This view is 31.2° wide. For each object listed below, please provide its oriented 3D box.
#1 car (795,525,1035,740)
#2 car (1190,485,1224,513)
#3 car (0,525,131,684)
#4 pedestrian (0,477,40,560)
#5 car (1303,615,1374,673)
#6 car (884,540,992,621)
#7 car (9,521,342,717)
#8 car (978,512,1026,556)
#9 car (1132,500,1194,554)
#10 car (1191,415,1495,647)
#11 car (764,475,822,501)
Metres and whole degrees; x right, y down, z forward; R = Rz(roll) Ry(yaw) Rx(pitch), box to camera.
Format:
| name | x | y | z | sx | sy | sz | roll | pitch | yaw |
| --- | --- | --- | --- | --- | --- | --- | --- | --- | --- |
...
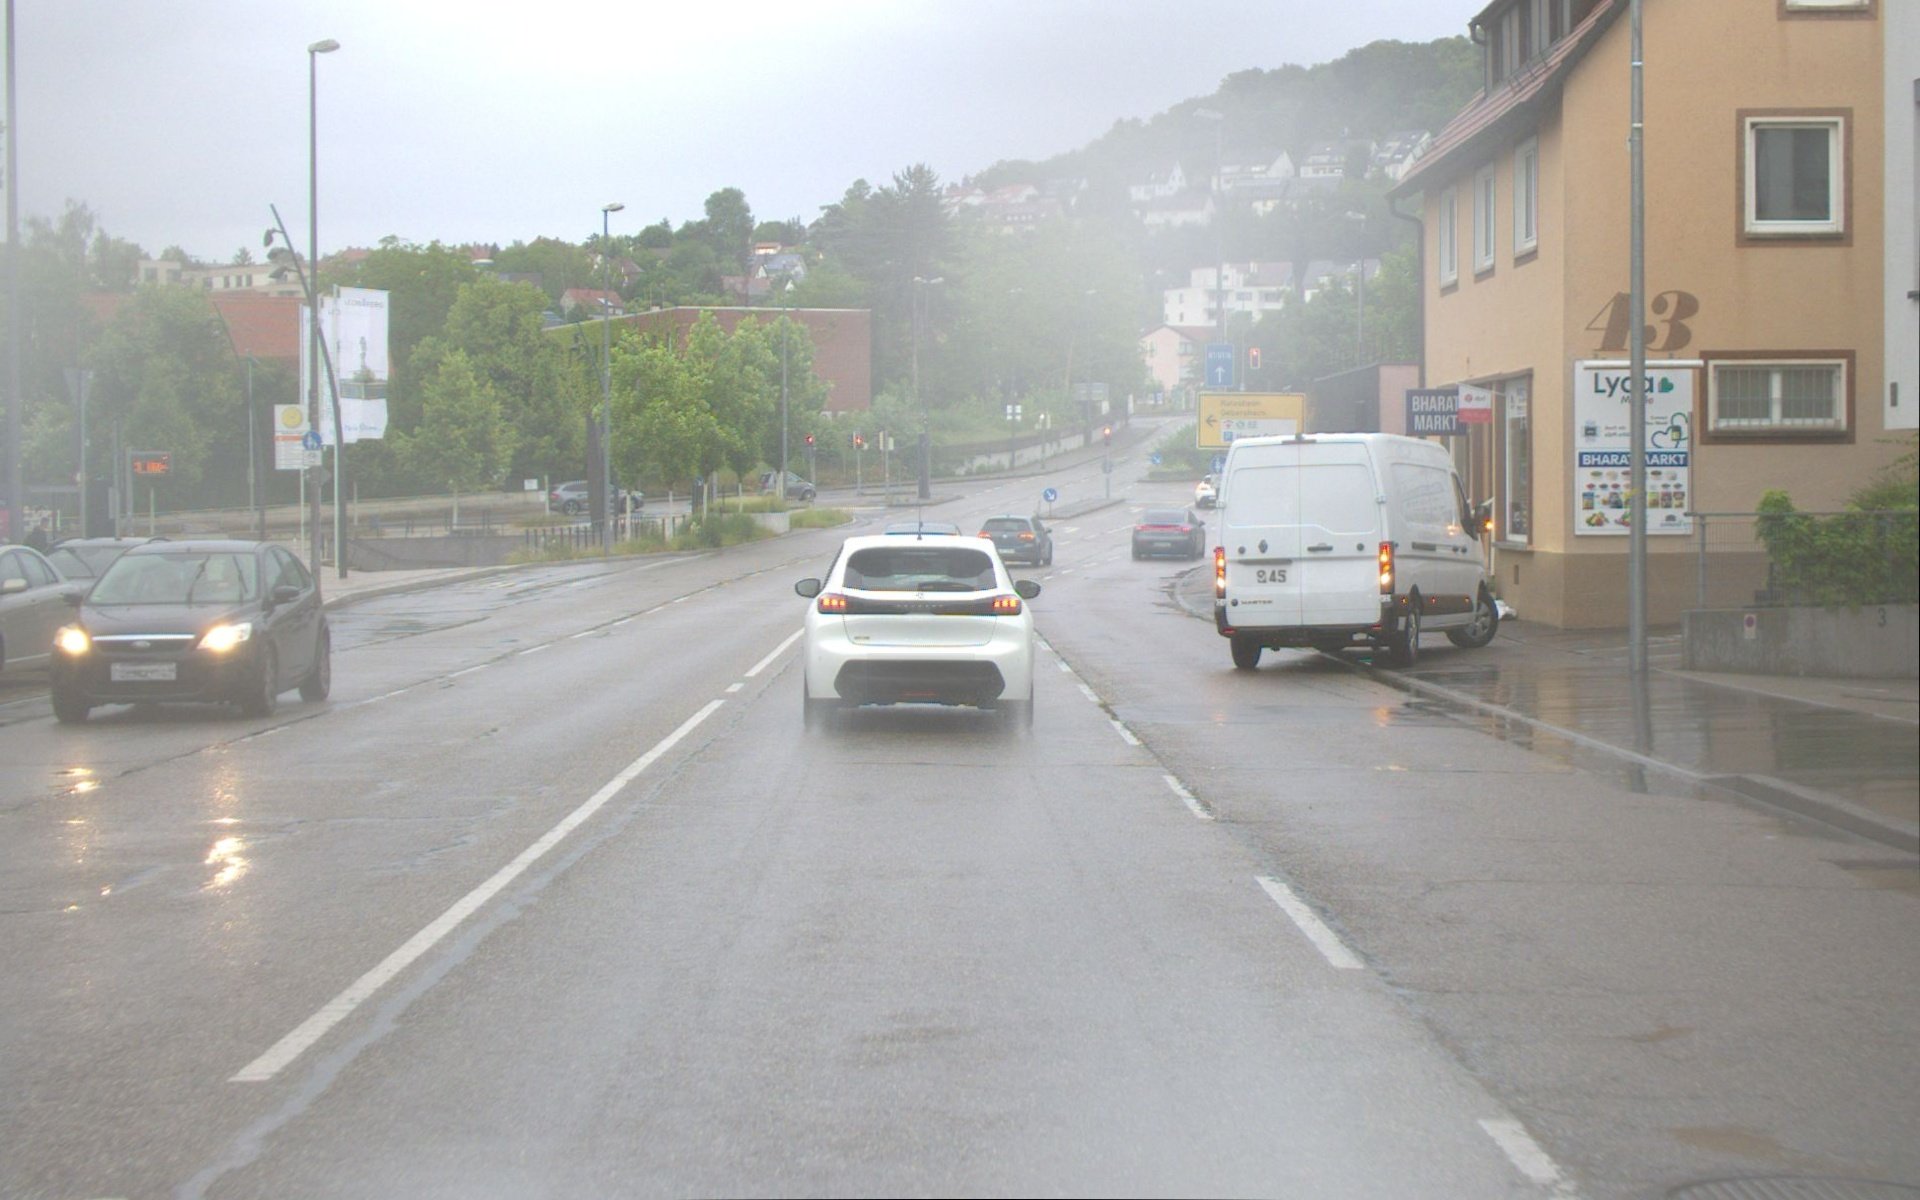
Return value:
| name | x | y | z | sx | sy | sz | roll | pitch | yaw |
| --- | --- | --- | --- | --- | --- | --- | --- | --- | --- |
| car | -0.403 | 0.231 | 26.474 | 1.691 | 1.514 | 3.933 | -1 | 0 | -2 |
| car | 10.702 | -4.382 | 149.209 | 1.385 | 1.122 | 2.610 | -1 | 0 | 3 |
| car | -9.880 | 0.049 | 34.775 | 1.691 | 1.505 | 4.577 | -1 | 0 | 2 |
| pedestrian | -20.221 | -1.748 | 73.936 | 0.782 | 1.739 | 0.674 | -1 | 0 | -14 |
| car | 11.779 | 1.360 | 106.765 | 1.731 | 1.492 | 4.479 | -2 | 2 | 12 |
| car | -0.352 | -0.360 | 58.870 | 1.741 | 1.291 | 3.334 | -1 | 1 | 1 |
| car | -6.606 | 0.142 | 29.402 | 1.880 | 1.518 | 4.184 | -1 | 0 | 0 |
| car | 1.142 | -1.788 | 94.159 | 1.213 | 1.152 | 2.270 | -1 | 0 | -2 |
| car | 6.060 | -2.213 | 103.046 | 1.734 | 1.383 | 3.353 | 1 | 5 | 2 |
| car | 4.484 | -0.744 | 39.109 | 2.292 | 2.374 | 6.620 | -1 | 0 | 16 |
| car | -7.953 | -5.332 | 163.782 | 2.418 | 1.153 | 1.371 | -1 | 1 | -26 |
